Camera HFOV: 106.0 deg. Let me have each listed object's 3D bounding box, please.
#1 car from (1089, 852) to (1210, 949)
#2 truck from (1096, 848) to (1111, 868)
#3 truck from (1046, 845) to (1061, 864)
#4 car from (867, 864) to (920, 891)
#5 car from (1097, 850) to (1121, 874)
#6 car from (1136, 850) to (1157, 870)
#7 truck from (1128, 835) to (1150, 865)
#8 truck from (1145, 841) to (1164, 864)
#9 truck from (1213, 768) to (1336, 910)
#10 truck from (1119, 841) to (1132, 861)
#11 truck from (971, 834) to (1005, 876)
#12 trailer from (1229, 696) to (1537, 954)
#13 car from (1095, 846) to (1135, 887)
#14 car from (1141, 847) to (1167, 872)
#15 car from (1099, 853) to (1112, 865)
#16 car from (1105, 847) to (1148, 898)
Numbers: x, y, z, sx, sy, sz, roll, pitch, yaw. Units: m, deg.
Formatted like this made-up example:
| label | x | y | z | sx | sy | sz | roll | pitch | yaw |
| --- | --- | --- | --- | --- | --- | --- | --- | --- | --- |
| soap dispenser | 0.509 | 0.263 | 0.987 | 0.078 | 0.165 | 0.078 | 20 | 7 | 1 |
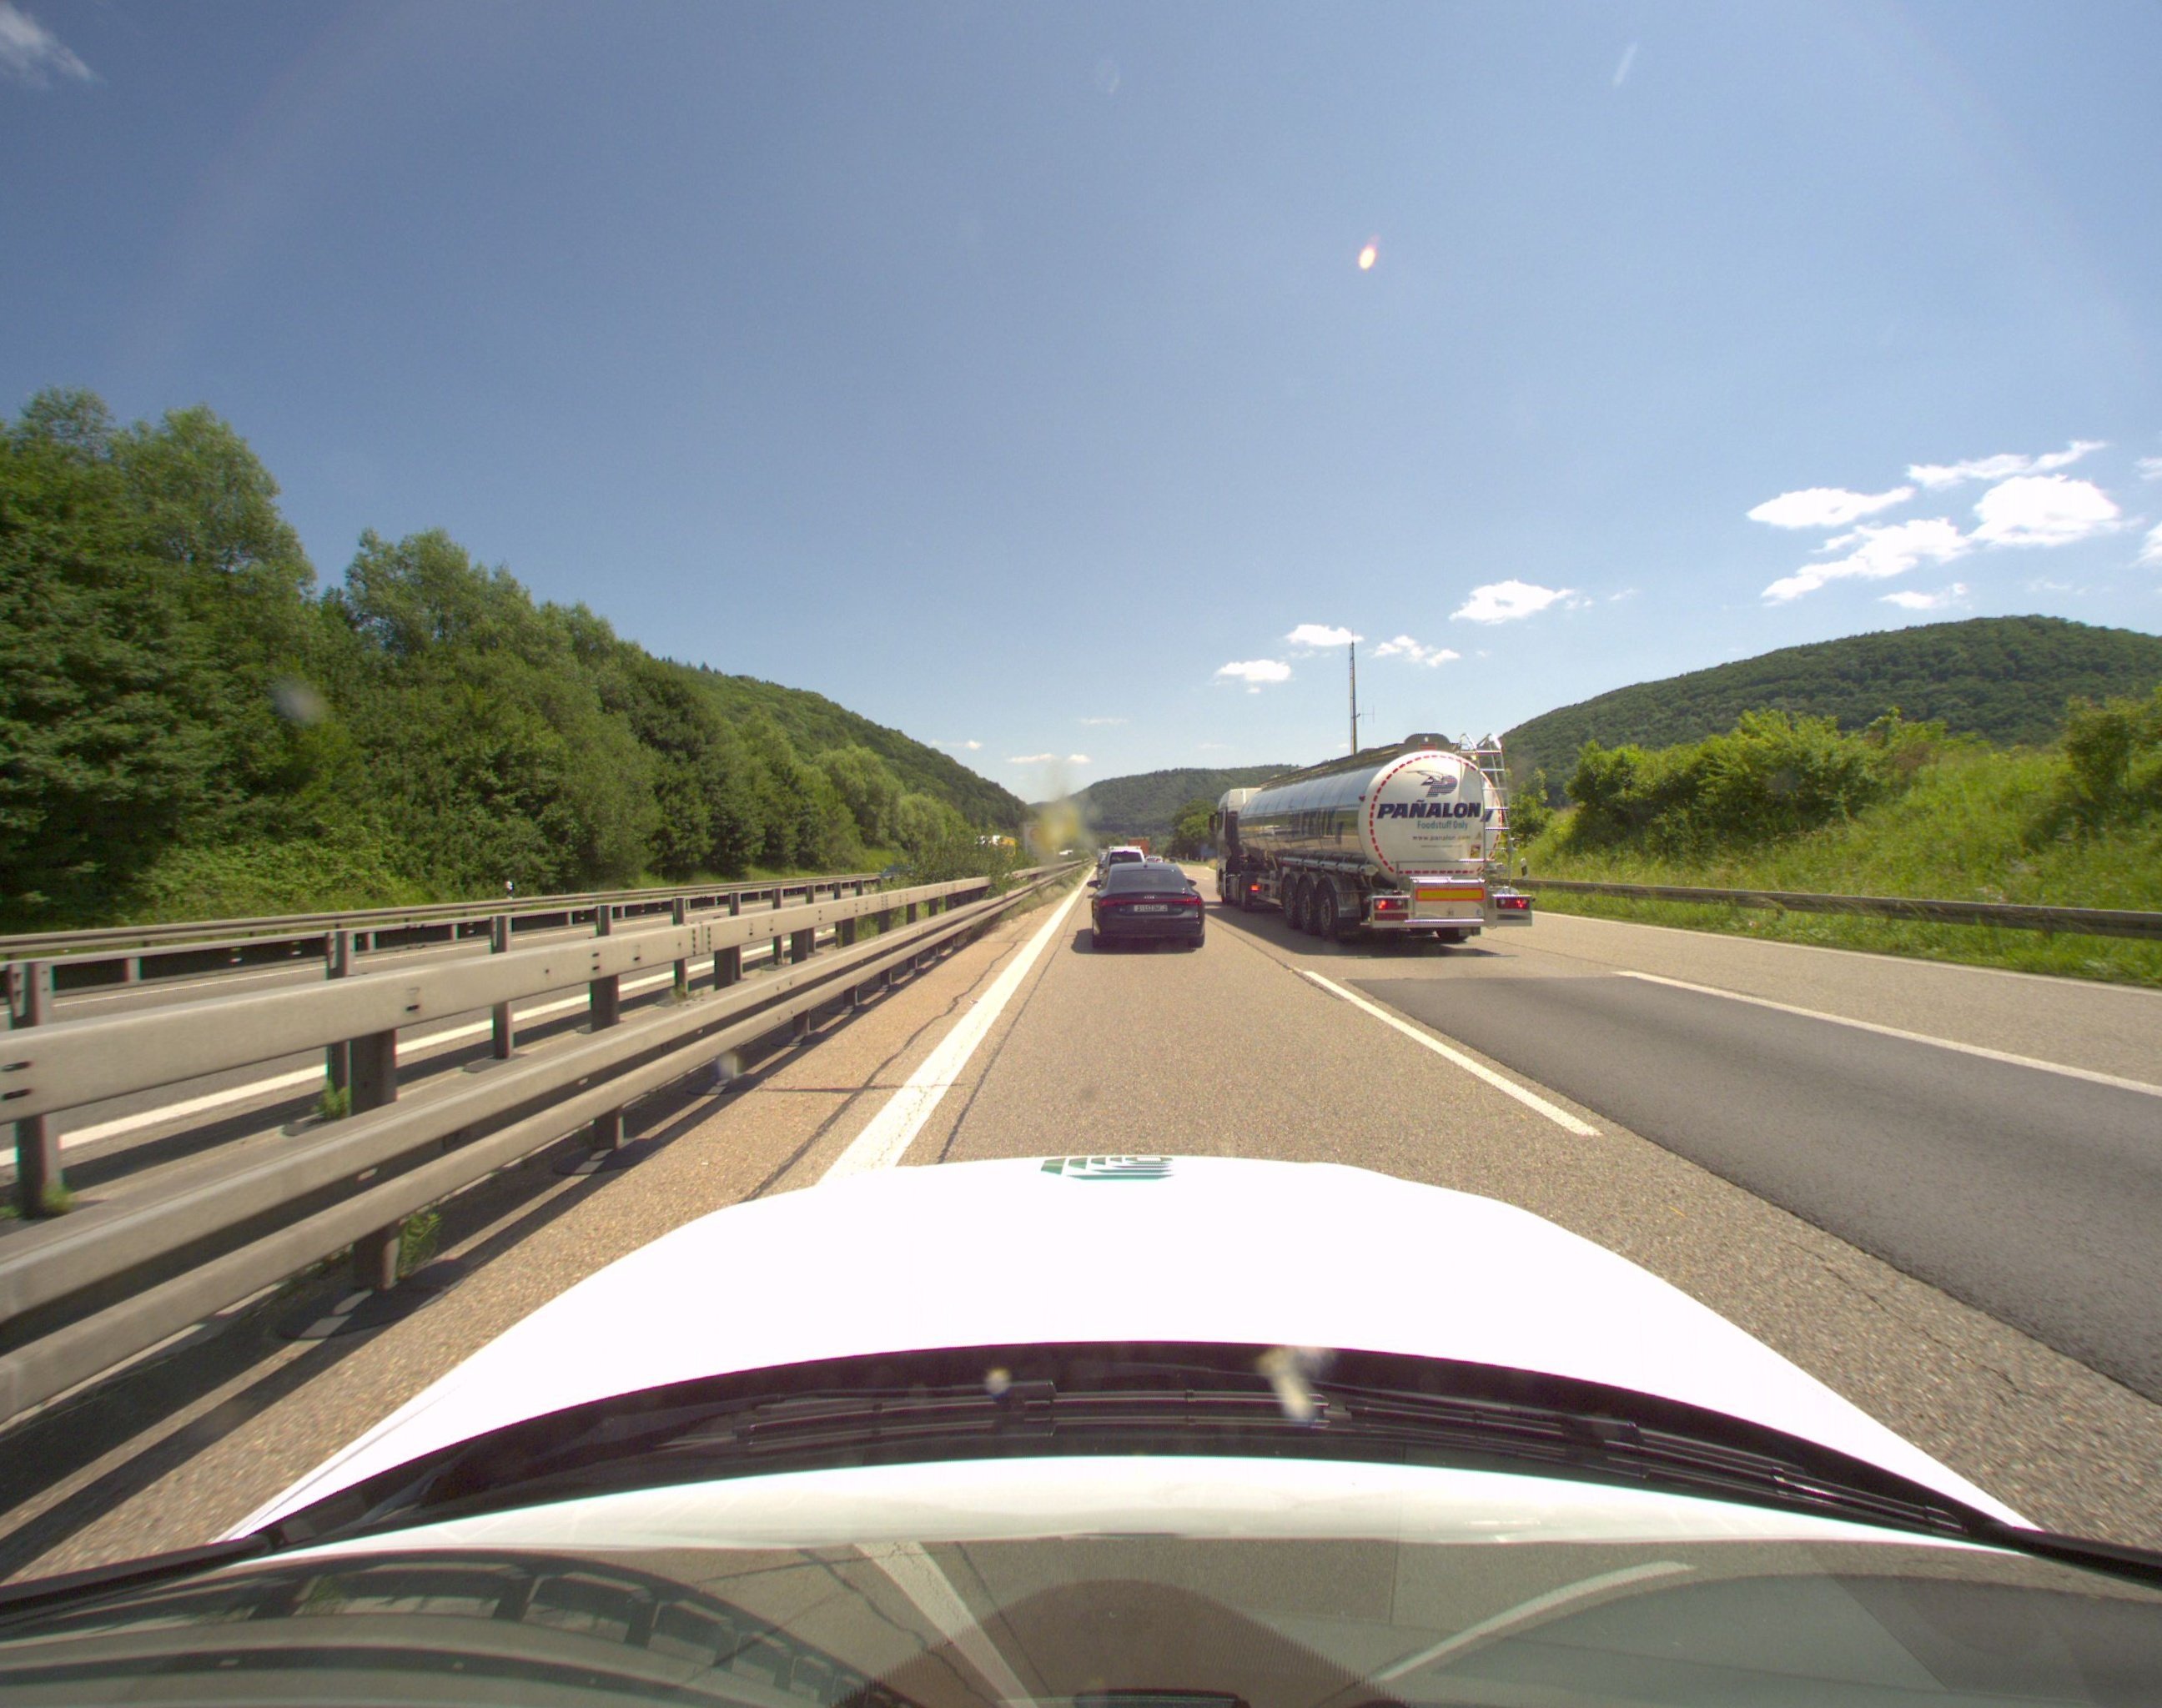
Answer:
| label | x | y | z | sx | sy | sz | roll | pitch | yaw |
| --- | --- | --- | --- | --- | --- | --- | --- | --- | --- |
| car | 1.084 | 0.731 | 14.699 | 1.843 | 1.488 | 4.082 | -1 | 0 | 0 |
| truck | 4.140 | 0.760 | 148.419 | 2.618 | 3.440 | 11.426 | -1 | 0 | 2 |
| truck | -5.945 | 0.162 | 175.414 | 2.718 | 4.001 | 5.372 | -2 | 0 | 2 |
| car | -10.916 | 1.325 | 47.622 | 1.862 | 1.420 | 4.435 | -2 | 0 | 2 |
| car | 2.483 | 0.715 | 72.335 | 1.986 | 2.013 | 4.001 | -1 | 0 | 1 |
| car | 6.827 | 0.640 | 85.292 | 1.985 | 2.002 | 4.003 | -2 | 0 | 3 |
| truck | 8.216 | -0.539 | 116.613 | 2.806 | 4.003 | 14.964 | -1 | 0 | 3 |
| truck | 13.378 | -0.184 | 149.203 | 2.806 | 4.003 | 14.964 | -1 | 0 | 3 |
| truck | 5.594 | -0.392 | 24.384 | 2.502 | 3.758 | 5.246 | -1 | 0 | 1 |
| truck | 7.962 | -0.440 | 146.693 | 1.986 | 3.447 | 11.816 | -1 | 0 | 2 |
| truck | -9.567 | 0.073 | 83.986 | 2.538 | 4.090 | 5.853 | -1 | 0 | 2 |
| trailer | 5.478 | -0.402 | 17.828 | 2.529 | 3.735 | 11.893 | -1 | 0 | 1 |
| car | 1.752 | 0.650 | 42.422 | 1.986 | 2.014 | 4.001 | -1 | 0 | 1 |
| car | 6.198 | 0.478 | 69.601 | 1.986 | 2.013 | 4.001 | -2 | 0 | 2 |
| car | 3.547 | 0.671 | 116.264 | 1.705 | 1.618 | 4.003 | -2 | 0 | 3 |
| car | 1.708 | 0.693 | 31.583 | 1.570 | 1.833 | 4.001 | -1 | 0 | 2 |
